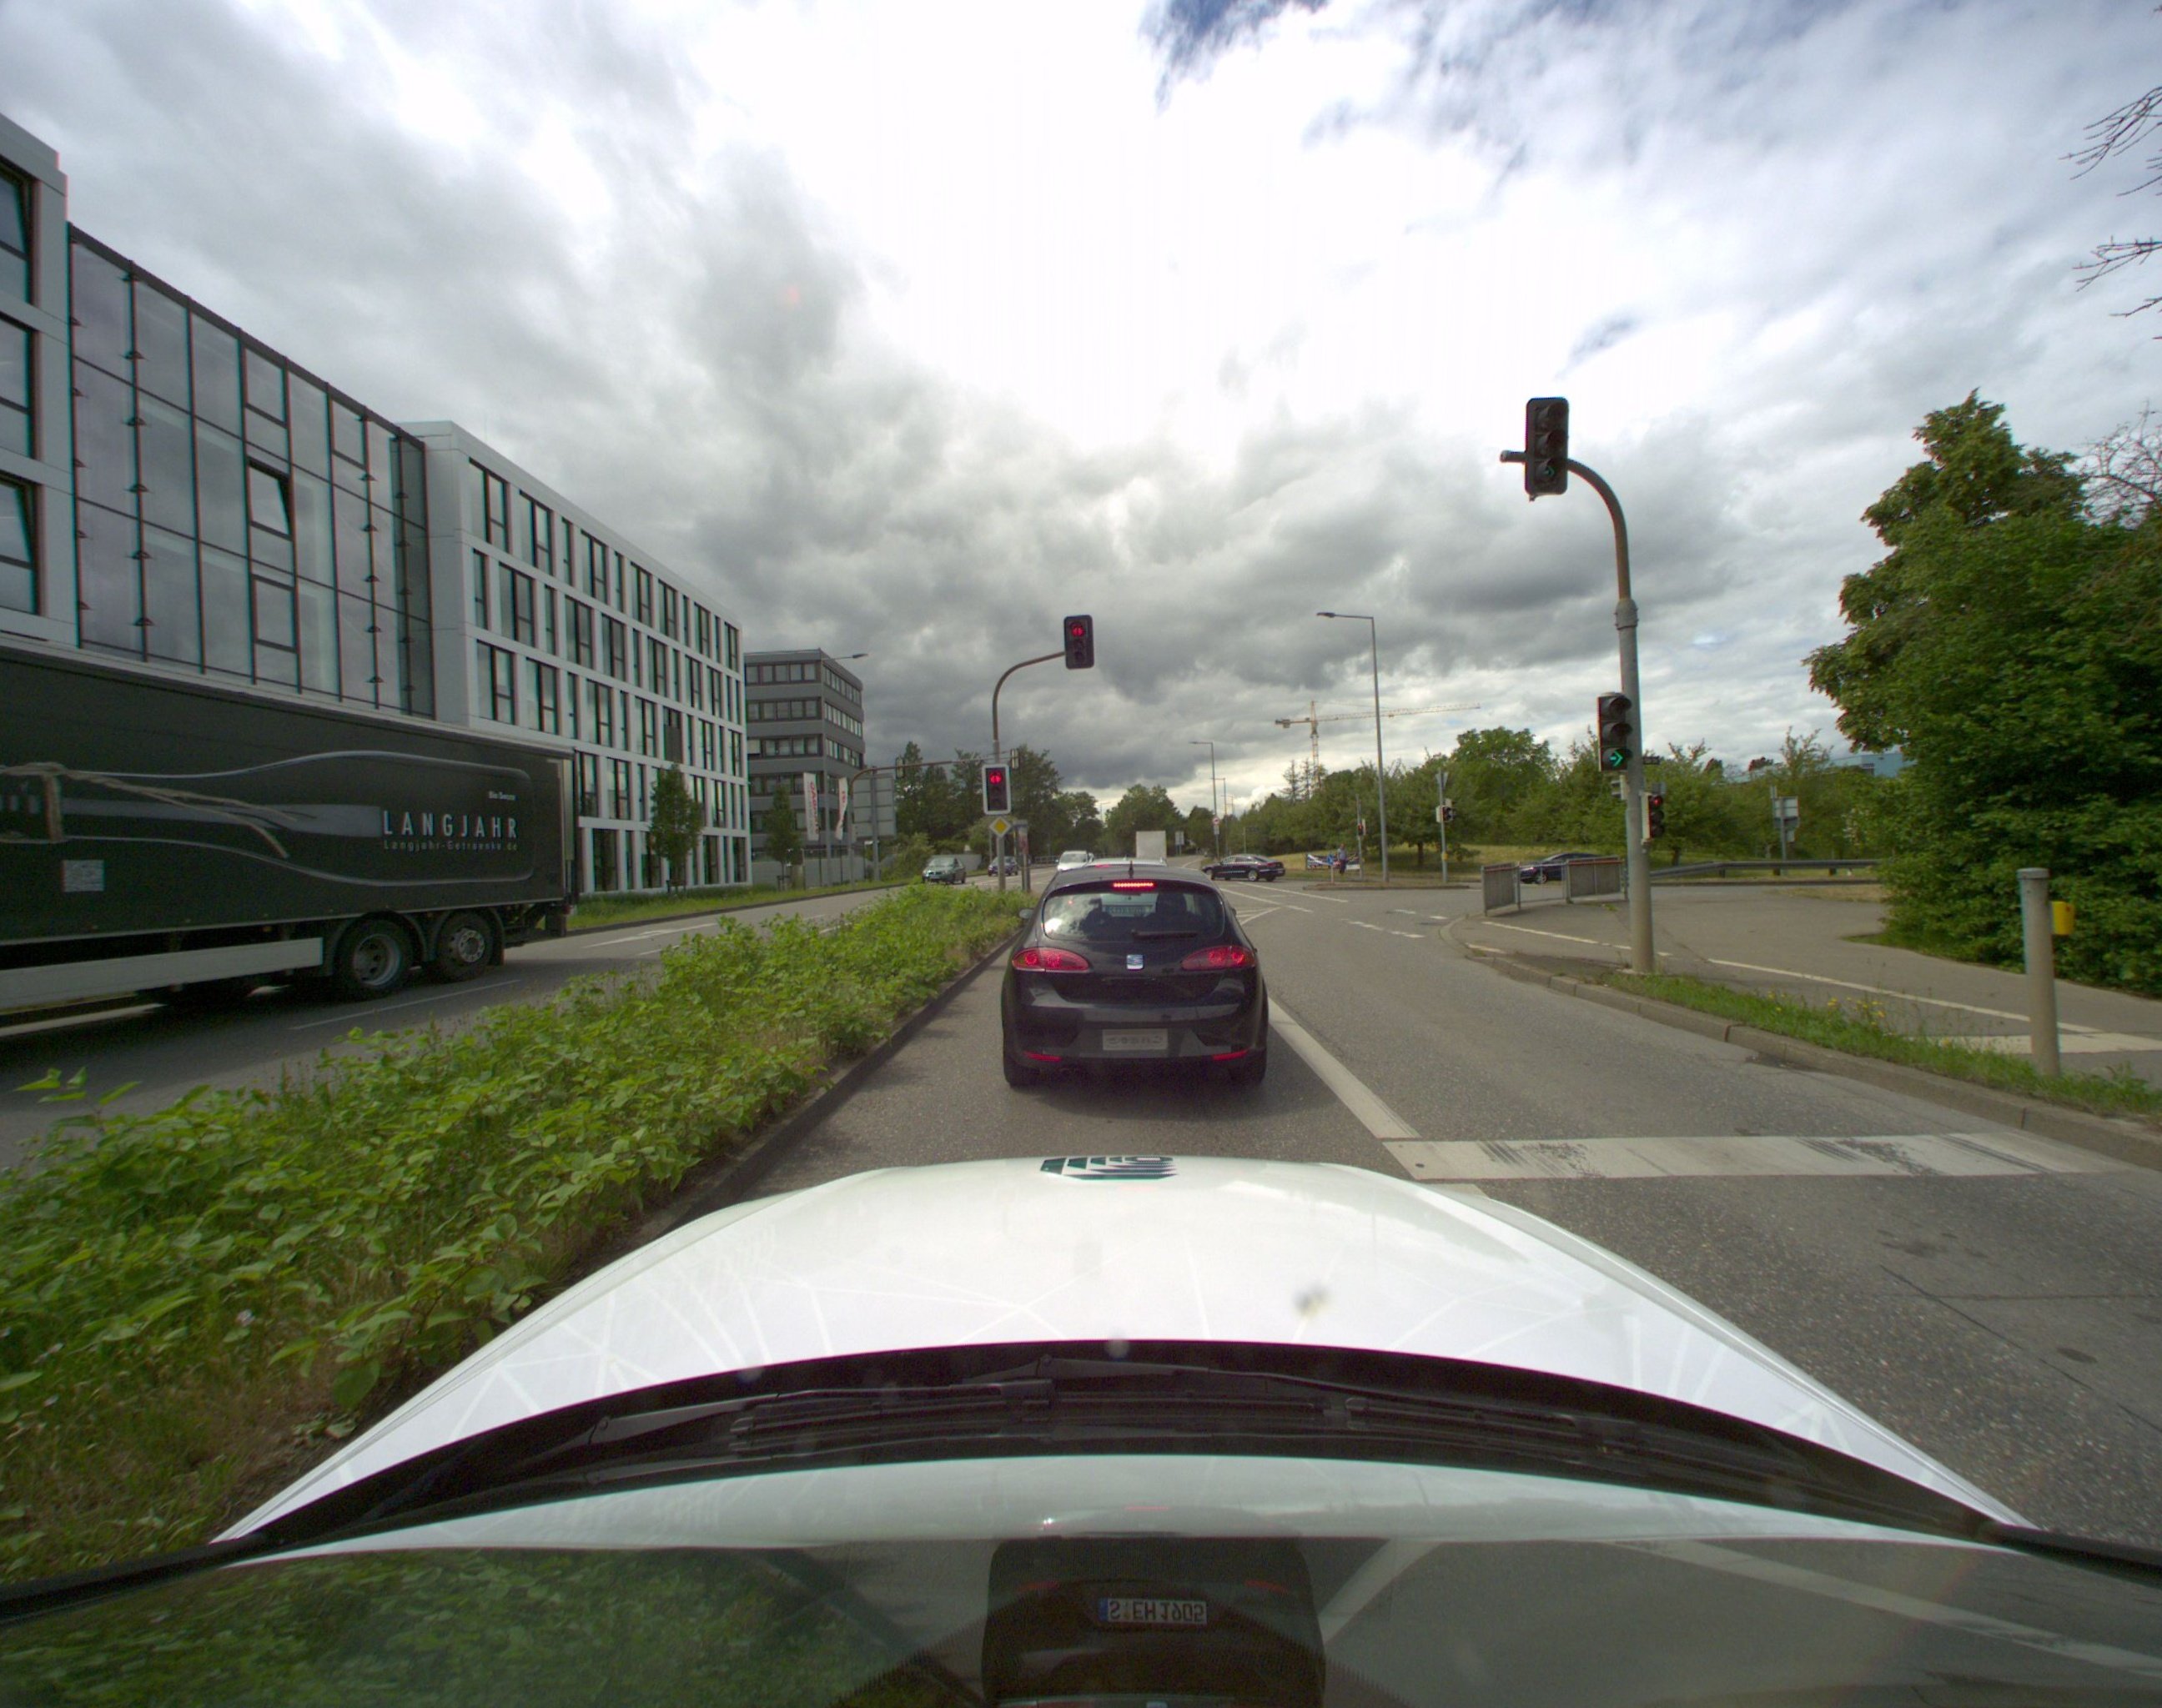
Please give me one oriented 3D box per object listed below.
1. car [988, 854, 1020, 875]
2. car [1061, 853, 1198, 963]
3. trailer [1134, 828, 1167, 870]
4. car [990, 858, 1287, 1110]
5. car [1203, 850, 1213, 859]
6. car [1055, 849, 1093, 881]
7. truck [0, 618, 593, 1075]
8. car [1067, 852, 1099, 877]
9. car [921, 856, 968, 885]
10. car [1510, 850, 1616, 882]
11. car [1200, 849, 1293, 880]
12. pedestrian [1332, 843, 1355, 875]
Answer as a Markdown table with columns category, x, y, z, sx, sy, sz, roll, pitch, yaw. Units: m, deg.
| category | x | y | z | sx | sy | sz | roll | pitch | yaw |
| --- | --- | --- | --- | --- | --- | --- | --- | --- | --- |
| car | -5.587 | 0.770 | 59.430 | 1.546 | 1.419 | 3.902 | -1 | 0 | 5 |
| car | 0.753 | 0.740 | 12.850 | 1.827 | 1.467 | 3.754 | 0 | 0 | 3 |
| trailer | 5.397 | -0.339 | 63.357 | 2.480 | 3.073 | 5.594 | 0 | -1 | 5 |
| car | 0.391 | 0.763 | 6.448 | 1.704 | 1.417 | 3.461 | -1 | 0 | 2 |
| car | 24.425 | 0.144 | 156.661 | 1.656 | 1.596 | 4.014 | -1 | -1 | 13 |
| car | -0.364 | 0.595 | 46.364 | 1.812 | 1.686 | 4.650 | 0 | 0 | 4 |
| truck | -9.789 | -0.039 | 8.575 | 3.155 | 3.517 | 9.532 | -2 | 0 | 2 |
| car | 0.184 | 0.643 | 52.433 | 1.652 | 1.518 | 4.091 | -1 | 0 | 6 |
| car | -7.293 | 0.863 | 43.803 | 1.598 | 1.432 | 3.757 | -1 | 0 | 4 |
| car | 22.275 | 0.551 | 37.760 | 3.852 | 1.446 | 1.766 | -1 | -1 | 13 |
| car | 8.732 | 0.535 | 43.090 | 4.414 | 1.565 | 2.012 | 0 | 0 | 42 |
| pedestrian | 14.666 | 0.272 | 45.536 | 0.721 | 1.793 | 1.035 | 0 | -1 | -25 |
